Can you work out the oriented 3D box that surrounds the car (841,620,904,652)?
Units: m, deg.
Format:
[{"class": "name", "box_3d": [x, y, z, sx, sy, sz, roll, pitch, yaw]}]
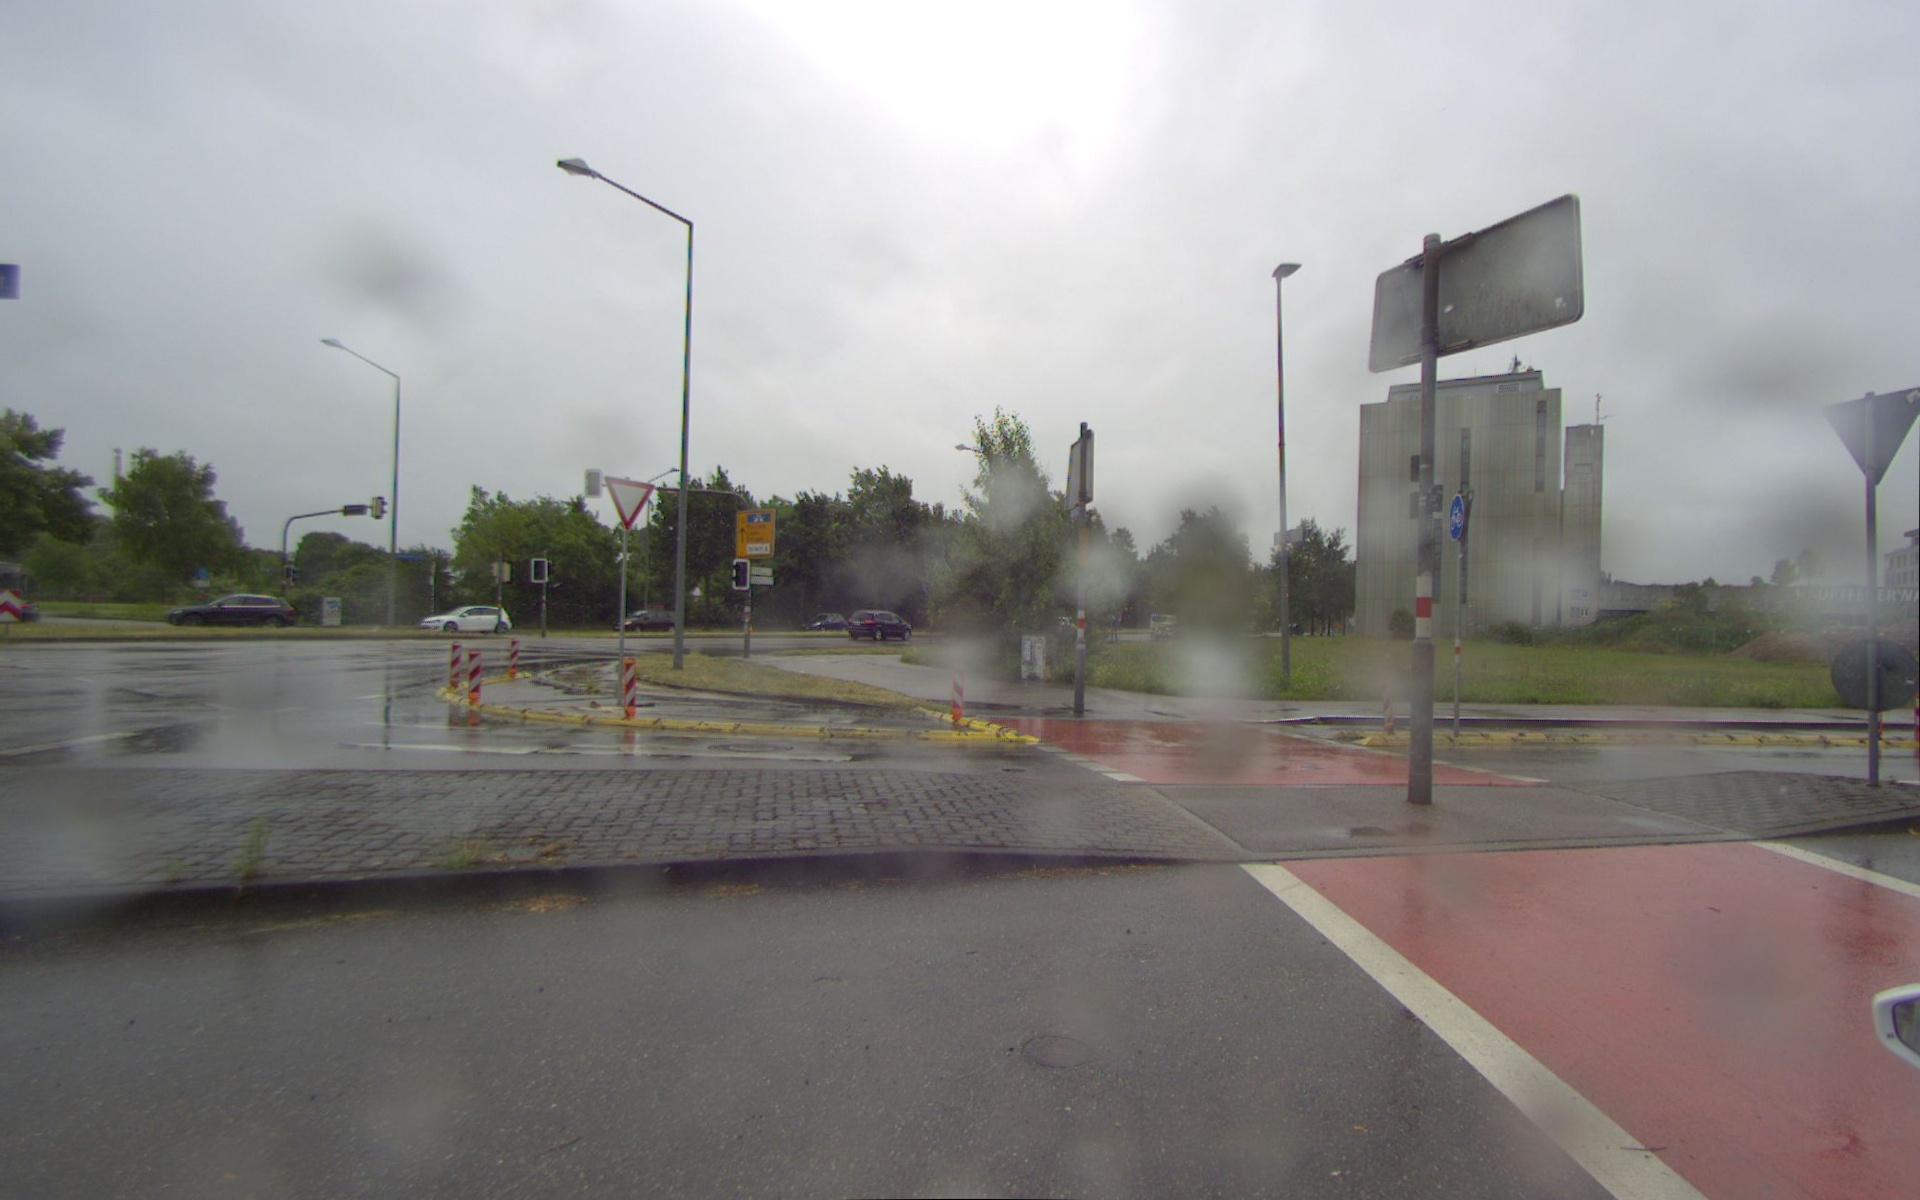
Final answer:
[{"class": "car", "box_3d": [-4.977, 2.097, 57.714, 1.755, 1.669, 3.998, 3, -2, 24]}]

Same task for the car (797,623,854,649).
[{"class": "car", "box_3d": [-10.052, 2.723, 75.131, 1.762, 1.669, 3.982, 3, -2, 41]}]

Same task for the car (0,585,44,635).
[{"class": "car", "box_3d": [-35.512, 0.233, 35.507, 4.355, 1.669, 1.770, 5, -2, -38]}]

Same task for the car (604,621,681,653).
[{"class": "car", "box_3d": [-18.887, 2.212, 59.826, 1.762, 1.669, 3.982, 3, -2, 41]}]

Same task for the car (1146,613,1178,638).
[{"class": "car", "box_3d": [18.503, 2.377, 91.744, 1.756, 2.062, 3.996, 3, -2, 27]}]

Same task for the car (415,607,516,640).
[{"class": "car", "box_3d": [-25.006, 1.227, 50.901, 1.607, 1.394, 4.232, 3, -2, 39]}]

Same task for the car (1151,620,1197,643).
[{"class": "car", "box_3d": [17.740, 2.643, 83.303, 1.761, 1.834, 4.818, 1, -1, 38]}]

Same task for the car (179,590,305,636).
[{"class": "car", "box_3d": [-31.665, 0.589, 44.460, 4.345, 1.669, 1.772, 5, -2, -35]}]
